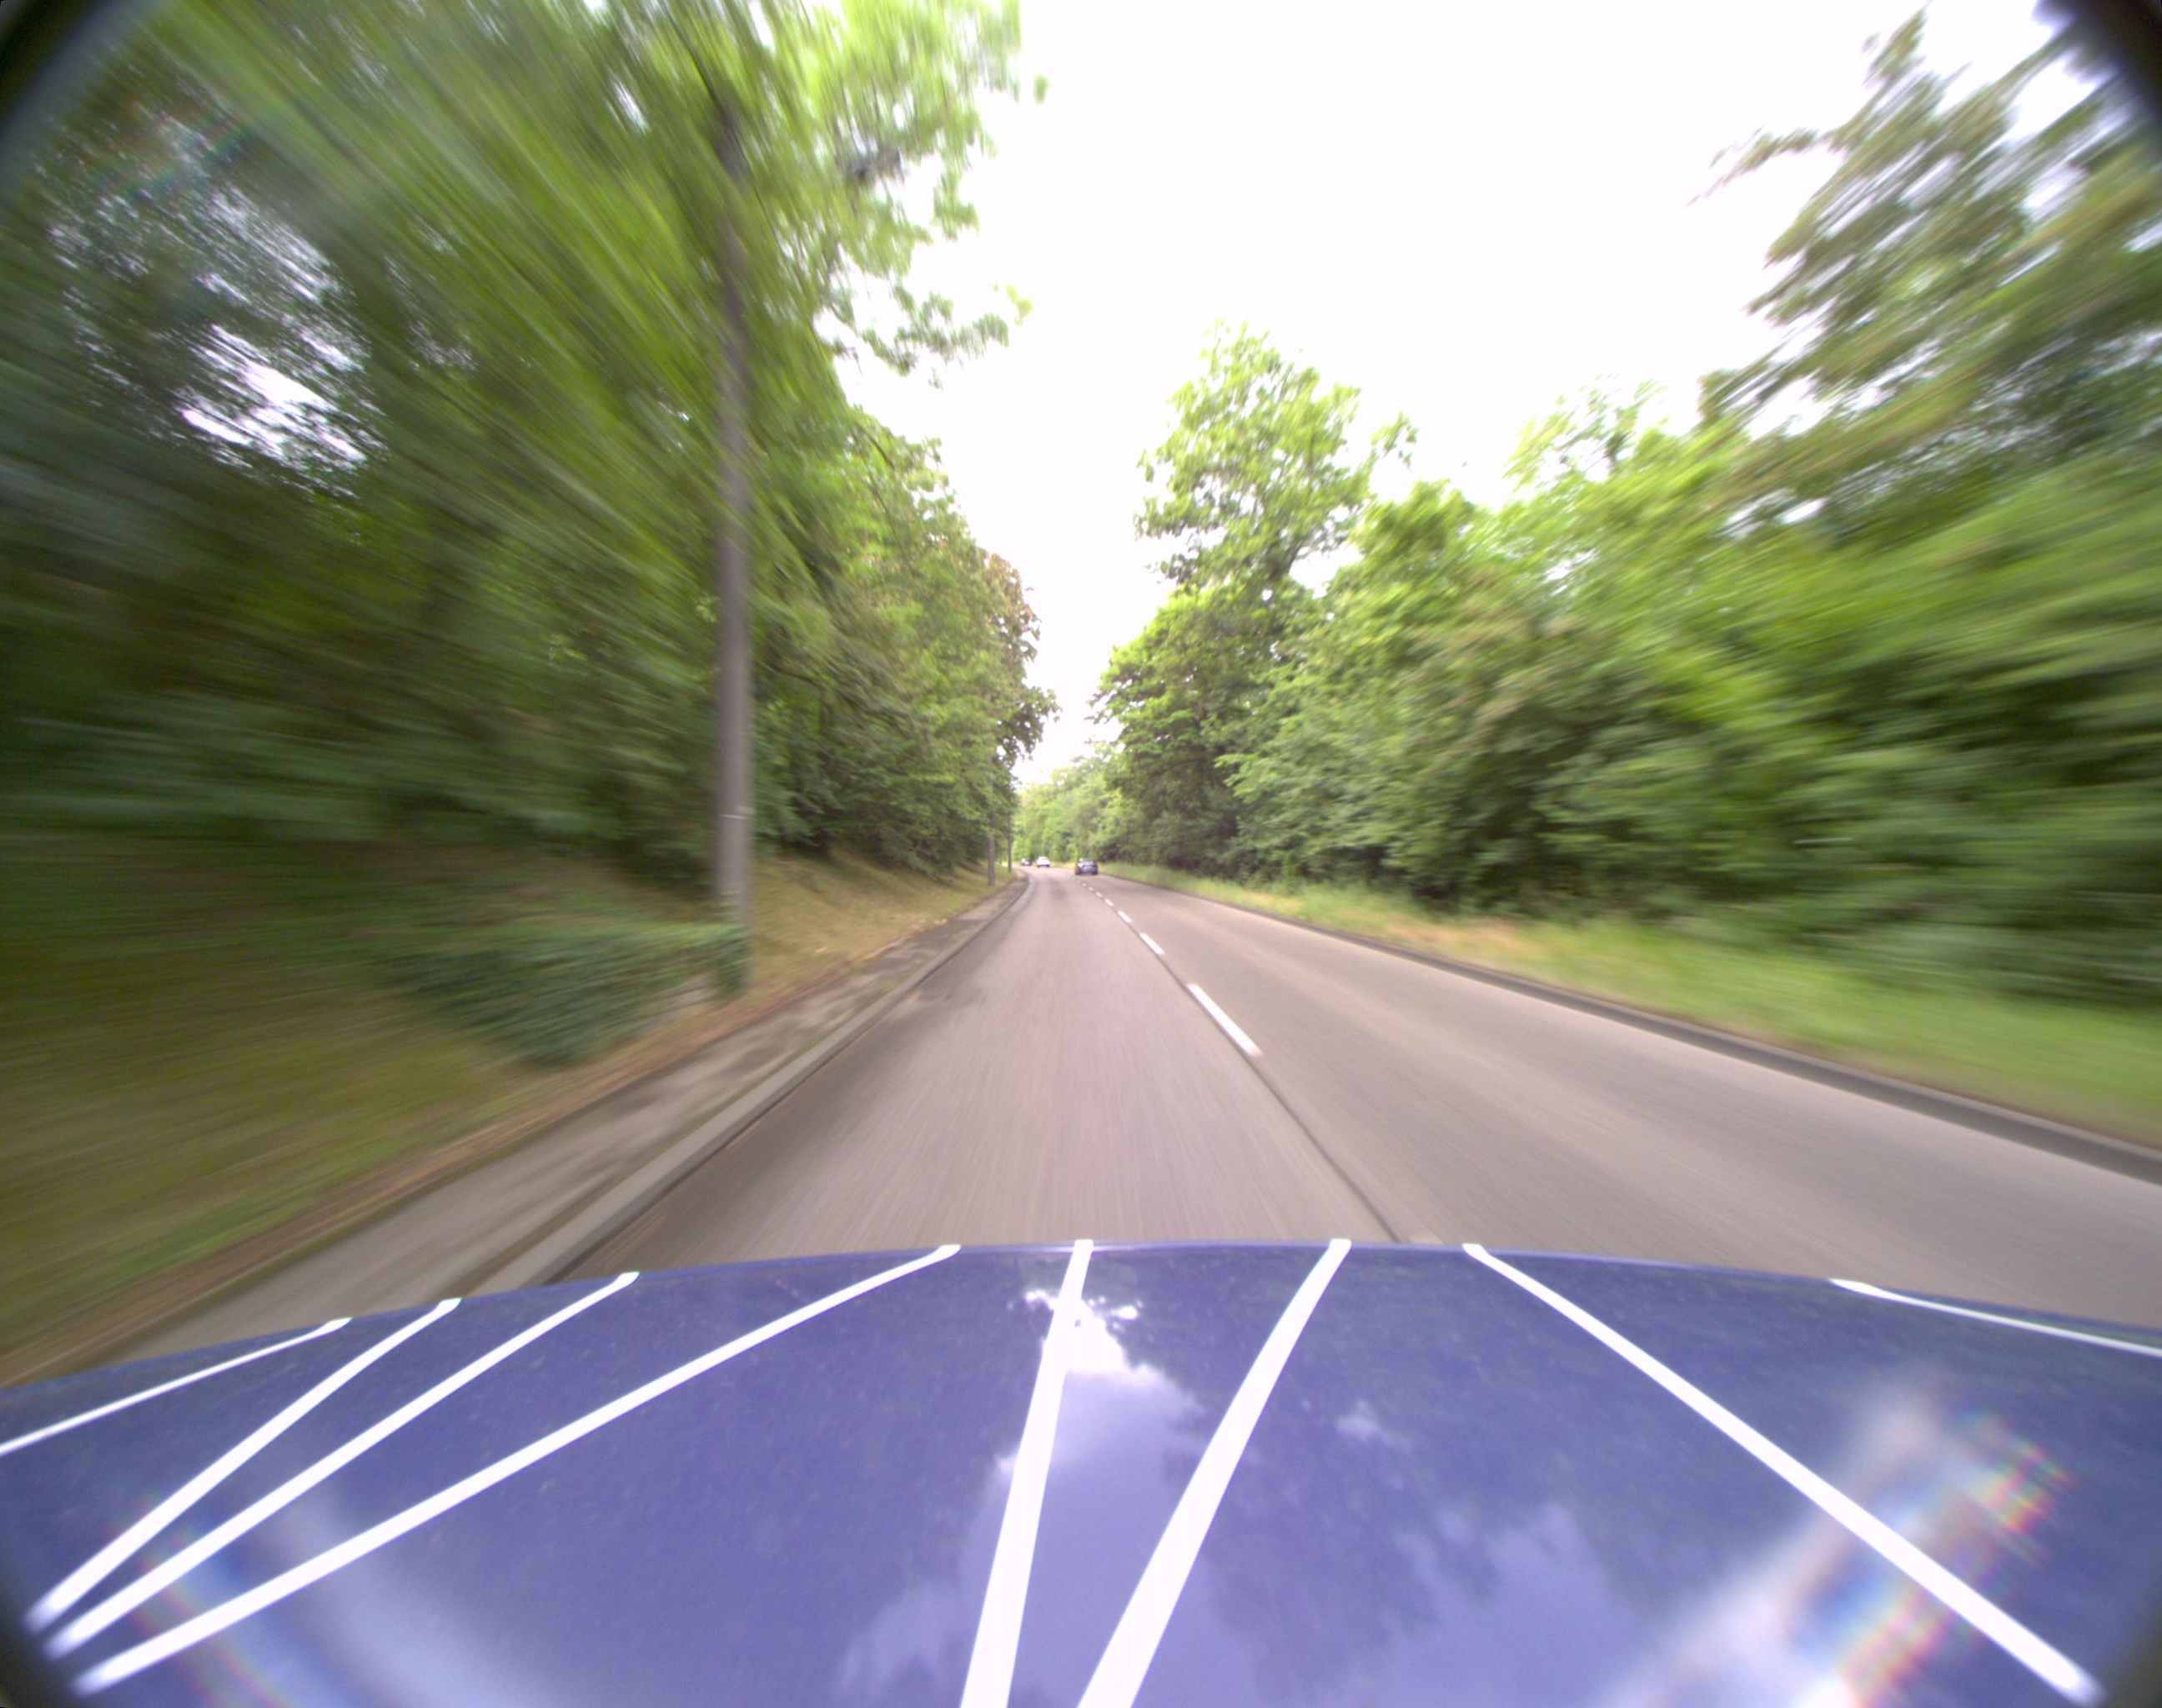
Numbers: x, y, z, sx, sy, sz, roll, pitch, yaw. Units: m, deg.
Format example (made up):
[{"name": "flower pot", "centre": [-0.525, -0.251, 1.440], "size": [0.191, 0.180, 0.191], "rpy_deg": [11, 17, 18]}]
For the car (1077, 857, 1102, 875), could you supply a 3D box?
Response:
[{"name": "car", "centre": [0.754, 1.010, 67.566], "size": [1.999, 1.429, 3.999], "rpy_deg": [-2, 1, -2]}]

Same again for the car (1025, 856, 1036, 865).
[{"name": "car", "centre": [-9.907, 1.238, 148.936], "size": [2.035, 1.499, 4.592], "rpy_deg": [-2, 1, -5]}]

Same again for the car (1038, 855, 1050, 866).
[{"name": "car", "centre": [-6.093, 1.081, 124.491], "size": [1.824, 1.685, 4.285], "rpy_deg": [-2, 1, -5]}]
